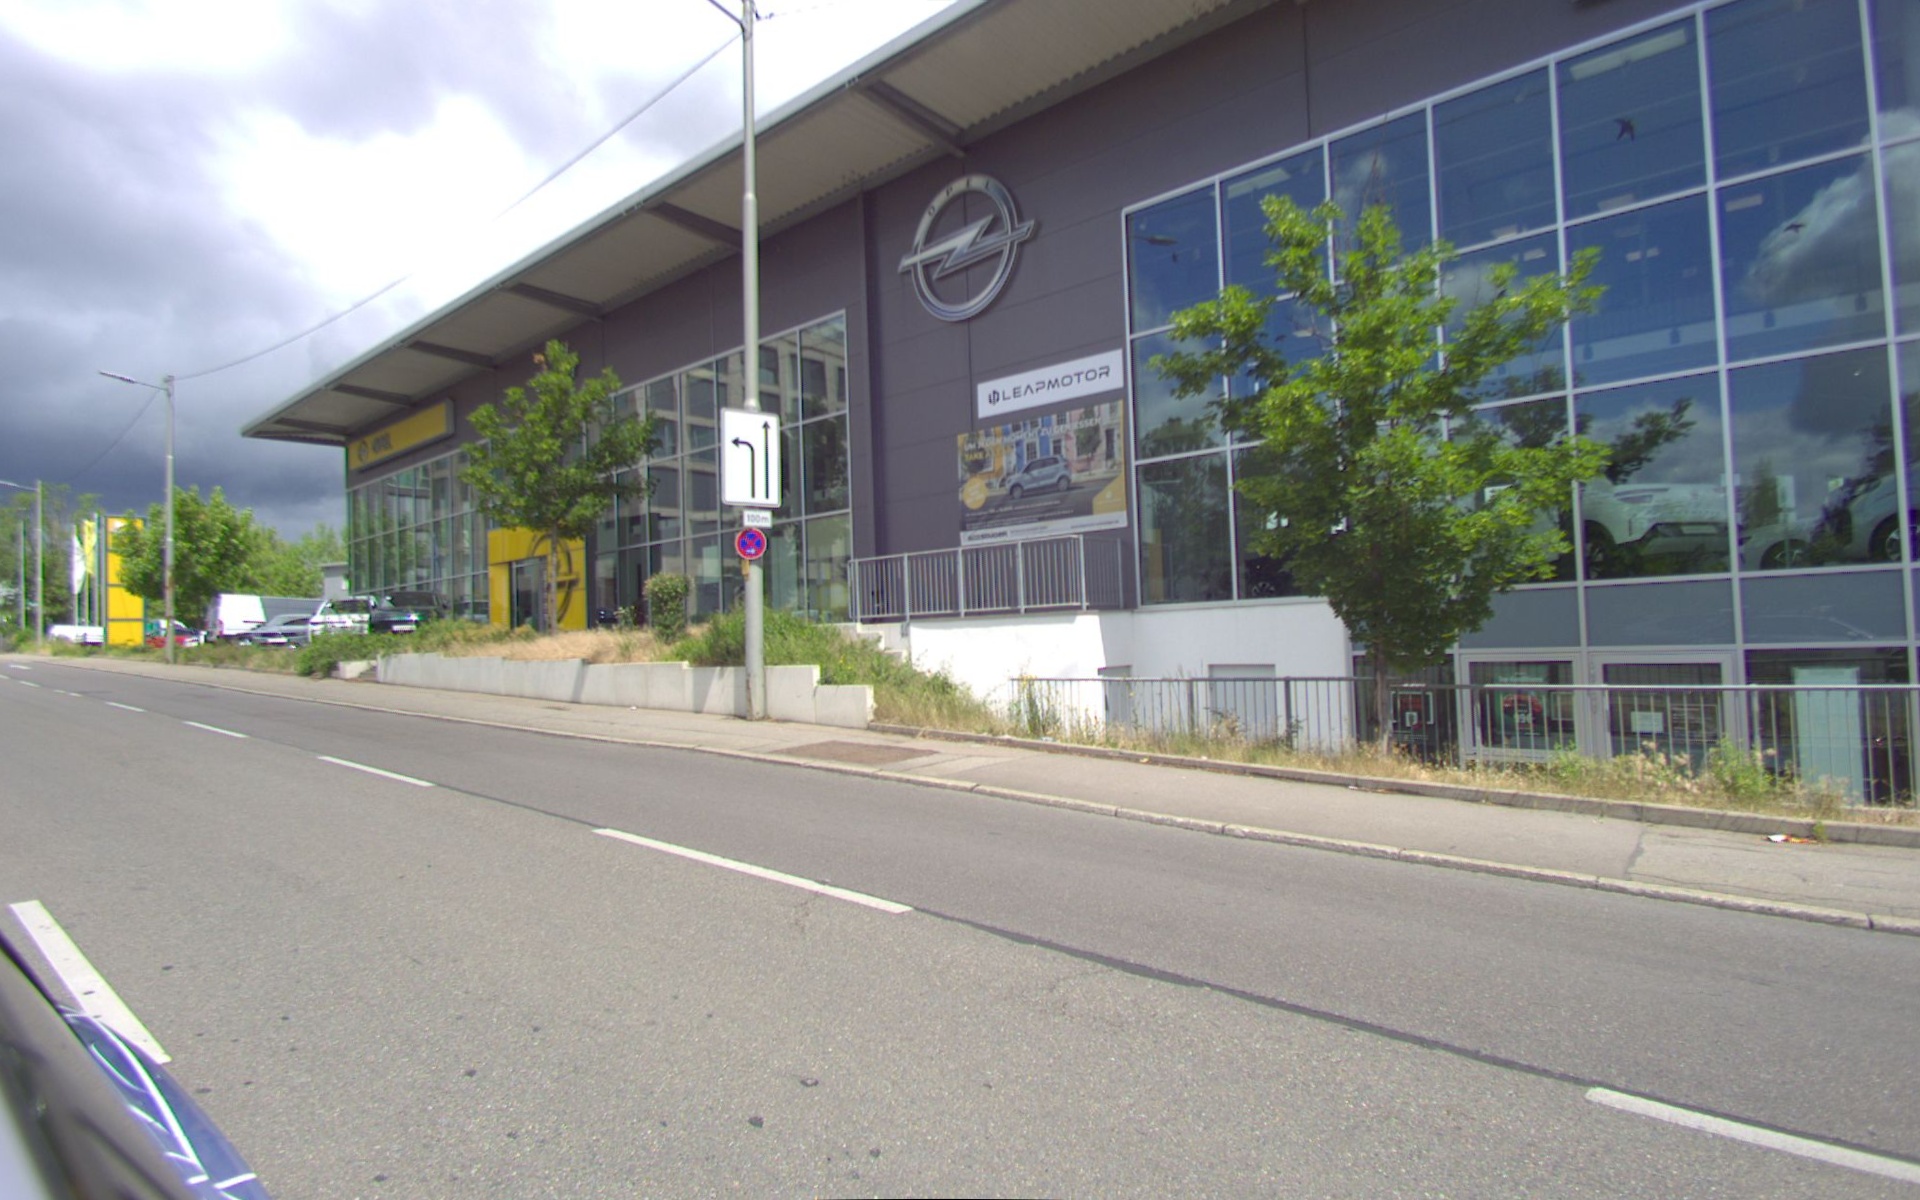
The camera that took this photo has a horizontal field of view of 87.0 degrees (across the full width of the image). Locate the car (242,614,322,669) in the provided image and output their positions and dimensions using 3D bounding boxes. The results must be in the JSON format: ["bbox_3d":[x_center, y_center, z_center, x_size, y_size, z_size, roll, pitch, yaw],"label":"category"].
[{"bbox_3d":[-23.465,1.403,35.170,1.966,1.807,4.012,1,-1,-29],"label":"car"}]

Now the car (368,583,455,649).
[{"bbox_3d":[-15.676,0.469,28.817,1.966,1.741,4.011,1,-2,-31],"label":"car"}]

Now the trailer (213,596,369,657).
[{"bbox_3d":[-27.411,1.081,41.624,1.998,2.367,5.011,-1,-2,39],"label":"trailer"}]

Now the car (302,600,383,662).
[{"bbox_3d":[-19.201,0.944,31.606,1.966,1.807,4.012,1,-2,-29],"label":"car"}]
